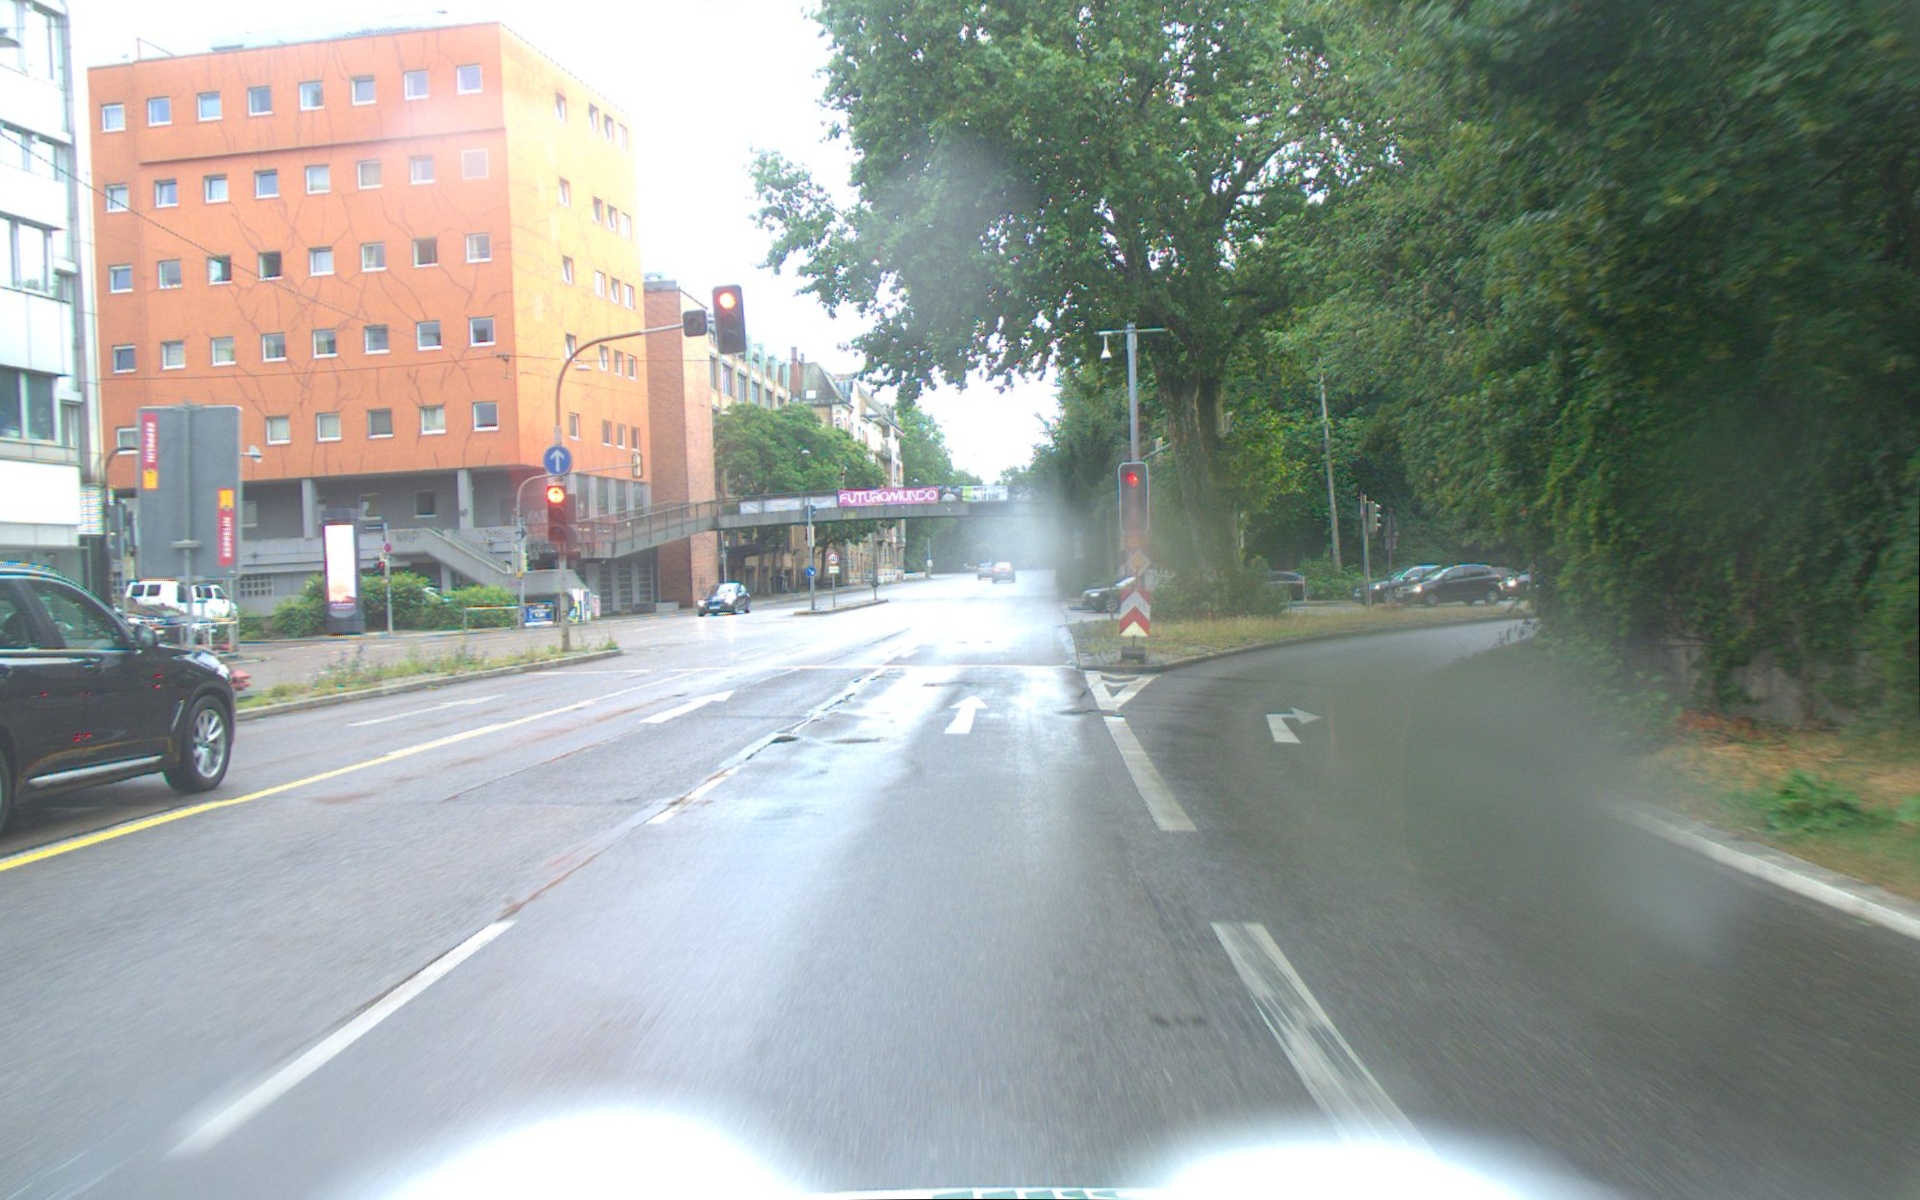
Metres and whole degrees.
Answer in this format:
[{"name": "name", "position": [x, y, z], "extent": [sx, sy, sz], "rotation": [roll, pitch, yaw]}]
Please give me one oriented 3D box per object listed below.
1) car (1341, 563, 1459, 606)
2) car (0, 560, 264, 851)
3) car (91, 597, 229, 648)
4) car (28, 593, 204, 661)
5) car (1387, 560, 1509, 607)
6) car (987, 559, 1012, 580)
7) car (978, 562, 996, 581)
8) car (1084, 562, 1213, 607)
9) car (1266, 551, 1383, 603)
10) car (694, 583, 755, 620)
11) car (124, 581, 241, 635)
[{"name": "car", "position": [16.587, -0.591, 62.408], "extent": [3.925, 1.512, 1.869], "rotation": [-2, 0, -18]}, {"name": "car", "position": [-6.390, 0.577, 10.578], "extent": [1.907, 1.625, 4.670], "rotation": [0, 2, 0]}, {"name": "car", "position": [-27.737, 0.772, 57.388], "extent": [4.047, 1.471, 1.587], "rotation": [-4, 0, 10]}, {"name": "car", "position": [-28.157, 0.890, 55.234], "extent": [4.968, 1.878, 2.002], "rotation": [-4, 0, 11]}, {"name": "car", "position": [17.215, -0.569, 58.388], "extent": [3.788, 1.511, 1.667], "rotation": [-2, 0, -13]}, {"name": "car", "position": [3.402, -2.666, 144.048], "extent": [2.077, 1.765, 4.198], "rotation": [0, 2, 0]}, {"name": "car", "position": [2.744, -2.882, 168.409], "extent": [1.727, 1.726, 3.706], "rotation": [-4, 0, 2]}, {"name": "car", "position": [7.088, -0.578, 62.428], "extent": [4.514, 1.476, 1.772], "rotation": [-2, 0, -5]}, {"name": "car", "position": [15.341, -0.946, 69.767], "extent": [4.259, 1.867, 2.131], "rotation": [-4, 0, -9]}, {"name": "car", "position": [-10.658, 0.055, 75.090], "extent": [1.952, 1.545, 4.001], "rotation": [-2, 0, 2]}, {"name": "car", "position": [-31.870, 0.296, 67.975], "extent": [1.951, 2.049, 4.856], "rotation": [2, 1, 8]}]
